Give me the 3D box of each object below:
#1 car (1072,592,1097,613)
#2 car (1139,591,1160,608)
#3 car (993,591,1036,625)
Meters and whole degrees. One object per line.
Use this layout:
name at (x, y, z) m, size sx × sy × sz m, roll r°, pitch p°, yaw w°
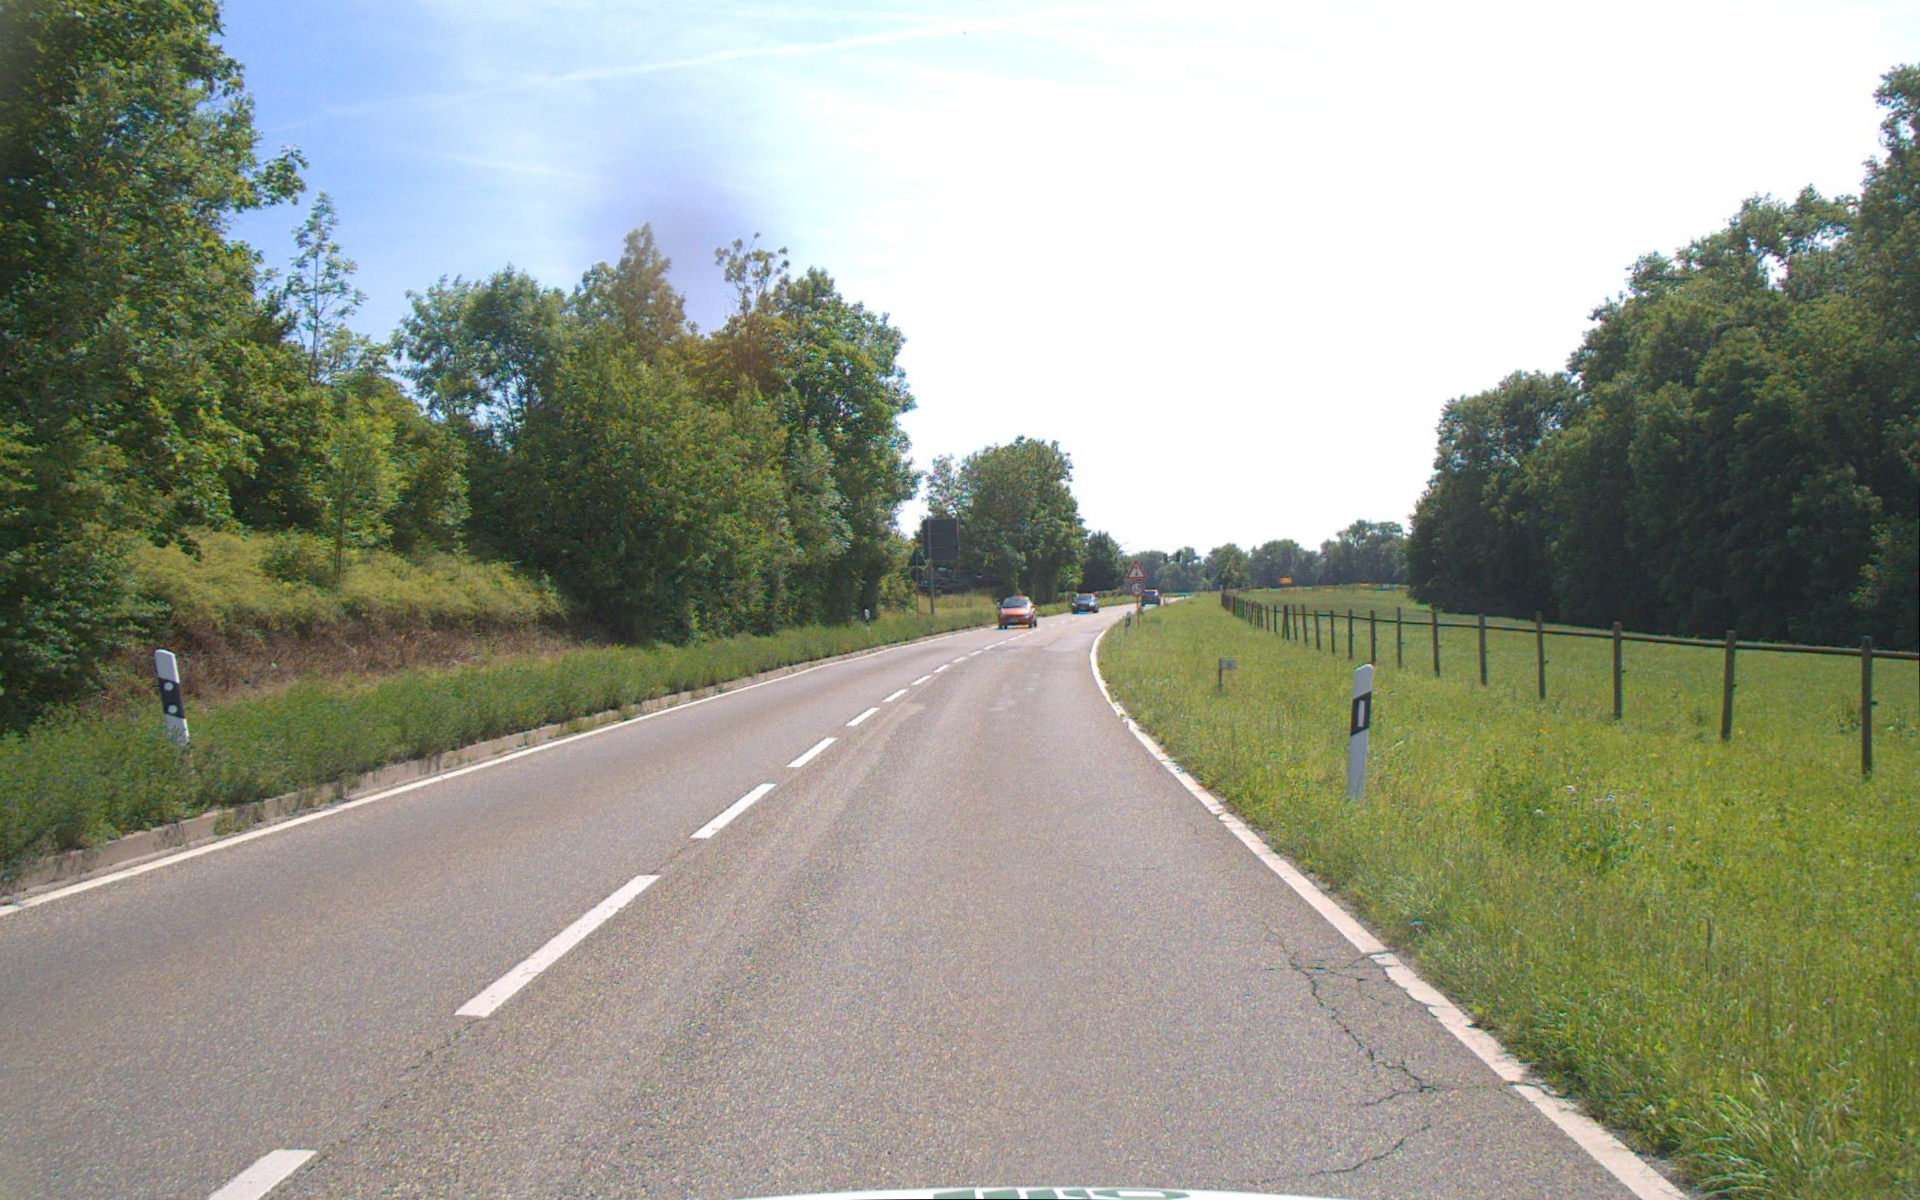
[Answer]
car at (9.355, 0.196, 124.422) m, size 1.783 × 1.494 × 4.002 m, roll 1°, pitch 0°, yaw 4°
car at (18.376, -0.037, 160.377) m, size 1.951 × 1.601 × 4.003 m, roll 1°, pitch 0°, yaw 8°
car at (2.508, 0.355, 75.552) m, size 1.783 × 1.494 × 4.002 m, roll 1°, pitch 0°, yaw 4°
